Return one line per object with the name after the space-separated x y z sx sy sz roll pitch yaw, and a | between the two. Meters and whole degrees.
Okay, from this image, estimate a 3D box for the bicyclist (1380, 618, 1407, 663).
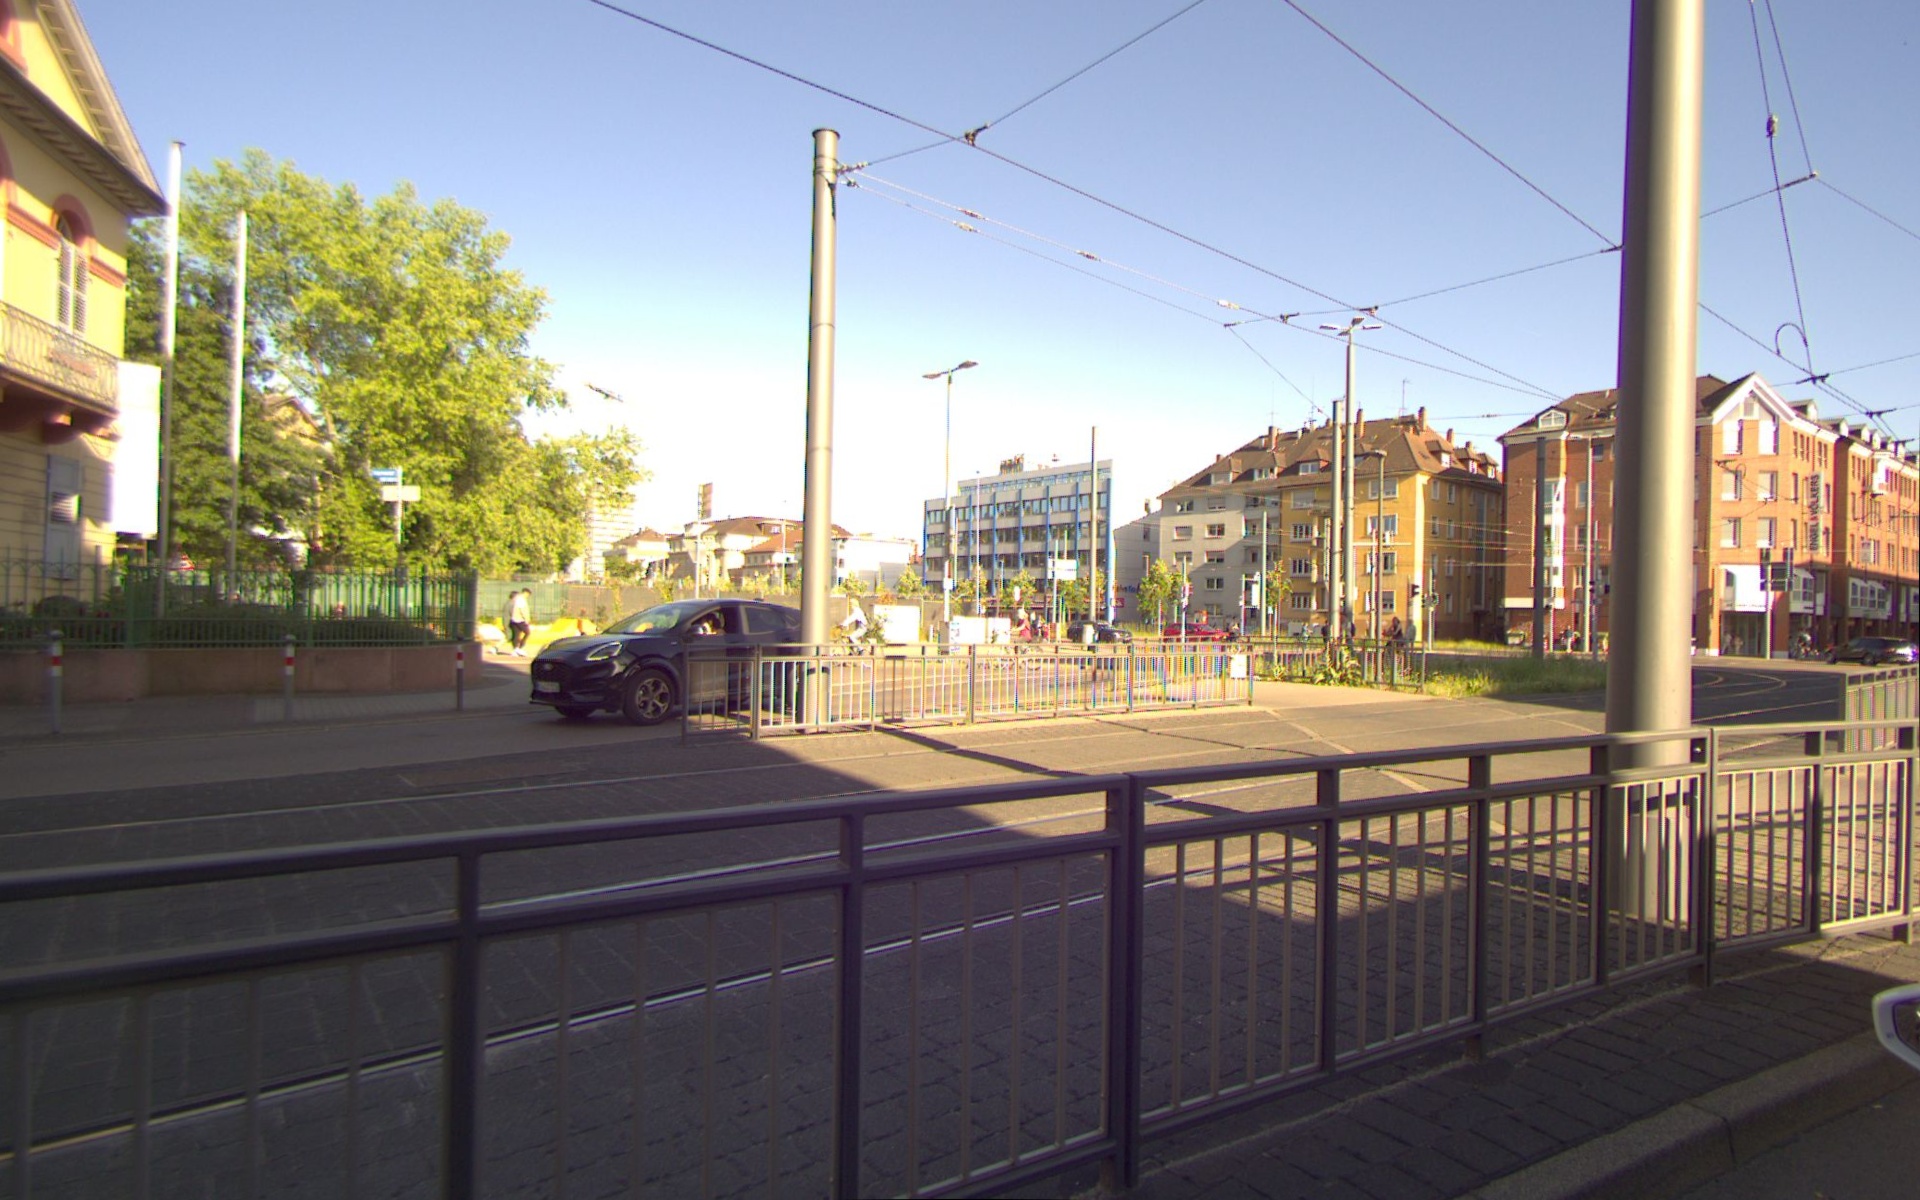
16.244 1.516 37.626 0.799 1.671 0.583 2 0 -39 | bicyclist

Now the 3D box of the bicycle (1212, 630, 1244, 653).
14.089 2.156 52.750 1.479 1.148 0.609 2 -1 43 | bicycle

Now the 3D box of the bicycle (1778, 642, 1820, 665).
49.731 3.161 59.560 0.616 1.239 2.040 2 -1 -4 | bicycle

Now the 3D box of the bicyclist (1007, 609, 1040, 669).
1.835 1.122 28.986 0.762 1.695 0.518 2 0 -32 | bicyclist

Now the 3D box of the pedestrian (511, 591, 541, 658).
-12.104 0.680 28.015 0.695 1.841 0.593 2 0 -23 | pedestrian

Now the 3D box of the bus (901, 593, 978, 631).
-2.232 1.188 104.389 2.927 3.611 9.322 2 -1 -39 | bus

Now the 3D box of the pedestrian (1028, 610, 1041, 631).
7.294 2.018 98.329 0.796 2.037 0.798 2 0 42 | pedestrian

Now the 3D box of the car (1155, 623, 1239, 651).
13.616 2.097 57.931 1.770 1.529 4.507 2 -2 -43 | car

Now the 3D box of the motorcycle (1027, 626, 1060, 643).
5.556 2.311 67.293 0.785 0.997 2.339 2 -1 -39 | motorcycle

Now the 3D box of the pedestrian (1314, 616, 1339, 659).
17.139 1.766 46.932 0.784 1.959 0.723 2 0 -13 | pedestrian

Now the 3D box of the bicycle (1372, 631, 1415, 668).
16.249 1.849 37.619 2.010 1.308 0.569 2 -1 -39 | bicycle

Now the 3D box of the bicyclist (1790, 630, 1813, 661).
49.654 2.691 59.274 0.602 1.795 0.830 2 0 -4 | bicyclist

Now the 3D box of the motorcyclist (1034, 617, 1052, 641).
5.553 1.955 67.304 0.776 1.544 0.912 2 0 -40 | motorcyclist

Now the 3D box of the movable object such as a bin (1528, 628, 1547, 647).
45.930 2.972 79.877 1.088 1.455 0.986 2 -1 -42 | movable object such as a bin

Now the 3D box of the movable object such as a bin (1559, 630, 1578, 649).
47.278 3.078 78.043 1.088 1.455 0.986 2 -1 -42 | movable object such as a bin

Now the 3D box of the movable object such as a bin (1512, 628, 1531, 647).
45.127 2.988 80.760 1.088 1.455 0.986 2 -1 -42 | movable object such as a bin

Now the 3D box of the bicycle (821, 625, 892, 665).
-2.833 1.239 27.567 1.855 1.027 0.529 2 0 -18 | bicycle

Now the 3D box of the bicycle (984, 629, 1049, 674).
1.630 1.486 28.865 1.864 1.230 0.527 2 0 -32 | bicycle

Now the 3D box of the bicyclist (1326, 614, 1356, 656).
13.697 1.254 36.104 0.722 1.473 0.660 2 0 -32 | bicyclist

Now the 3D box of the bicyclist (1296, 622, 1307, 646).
19.232 1.932 56.534 0.453 1.333 0.398 2 0 41 | bicyclist

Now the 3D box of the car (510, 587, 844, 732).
-3.558 0.719 13.330 1.663 1.581 4.109 2 -1 36 | car

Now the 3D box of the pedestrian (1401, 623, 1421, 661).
20.876 1.914 46.450 0.618 1.711 0.701 2 2 45 | pedestrian

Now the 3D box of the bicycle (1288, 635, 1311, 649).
19.110 2.364 56.599 1.158 0.774 0.318 2 0 41 | bicycle

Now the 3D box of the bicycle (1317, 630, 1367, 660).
13.733 1.636 36.117 1.864 1.027 0.646 2 -1 -32 | bicycle

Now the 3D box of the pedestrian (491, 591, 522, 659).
-12.792 0.693 28.344 0.729 1.876 0.703 2 0 -23 | pedestrian

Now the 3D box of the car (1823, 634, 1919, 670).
45.531 2.563 50.244 1.697 1.572 3.474 2 -1 0 | car

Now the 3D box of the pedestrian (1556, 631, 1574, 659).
38.479 2.880 63.855 0.922 1.733 0.689 2 0 -40 | pedestrian

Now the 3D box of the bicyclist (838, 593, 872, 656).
-2.885 0.676 27.515 0.759 1.695 0.519 2 0 -23 | bicyclist

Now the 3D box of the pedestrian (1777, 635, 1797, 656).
65.748 3.587 79.872 0.848 1.589 0.885 2 0 -11 | pedestrian

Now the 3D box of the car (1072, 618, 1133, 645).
8.956 1.961 63.223 1.562 1.491 3.669 2 -1 -40 | car

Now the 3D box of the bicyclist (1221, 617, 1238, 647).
14.136 1.673 52.720 0.607 1.513 0.606 2 0 43 | bicyclist
